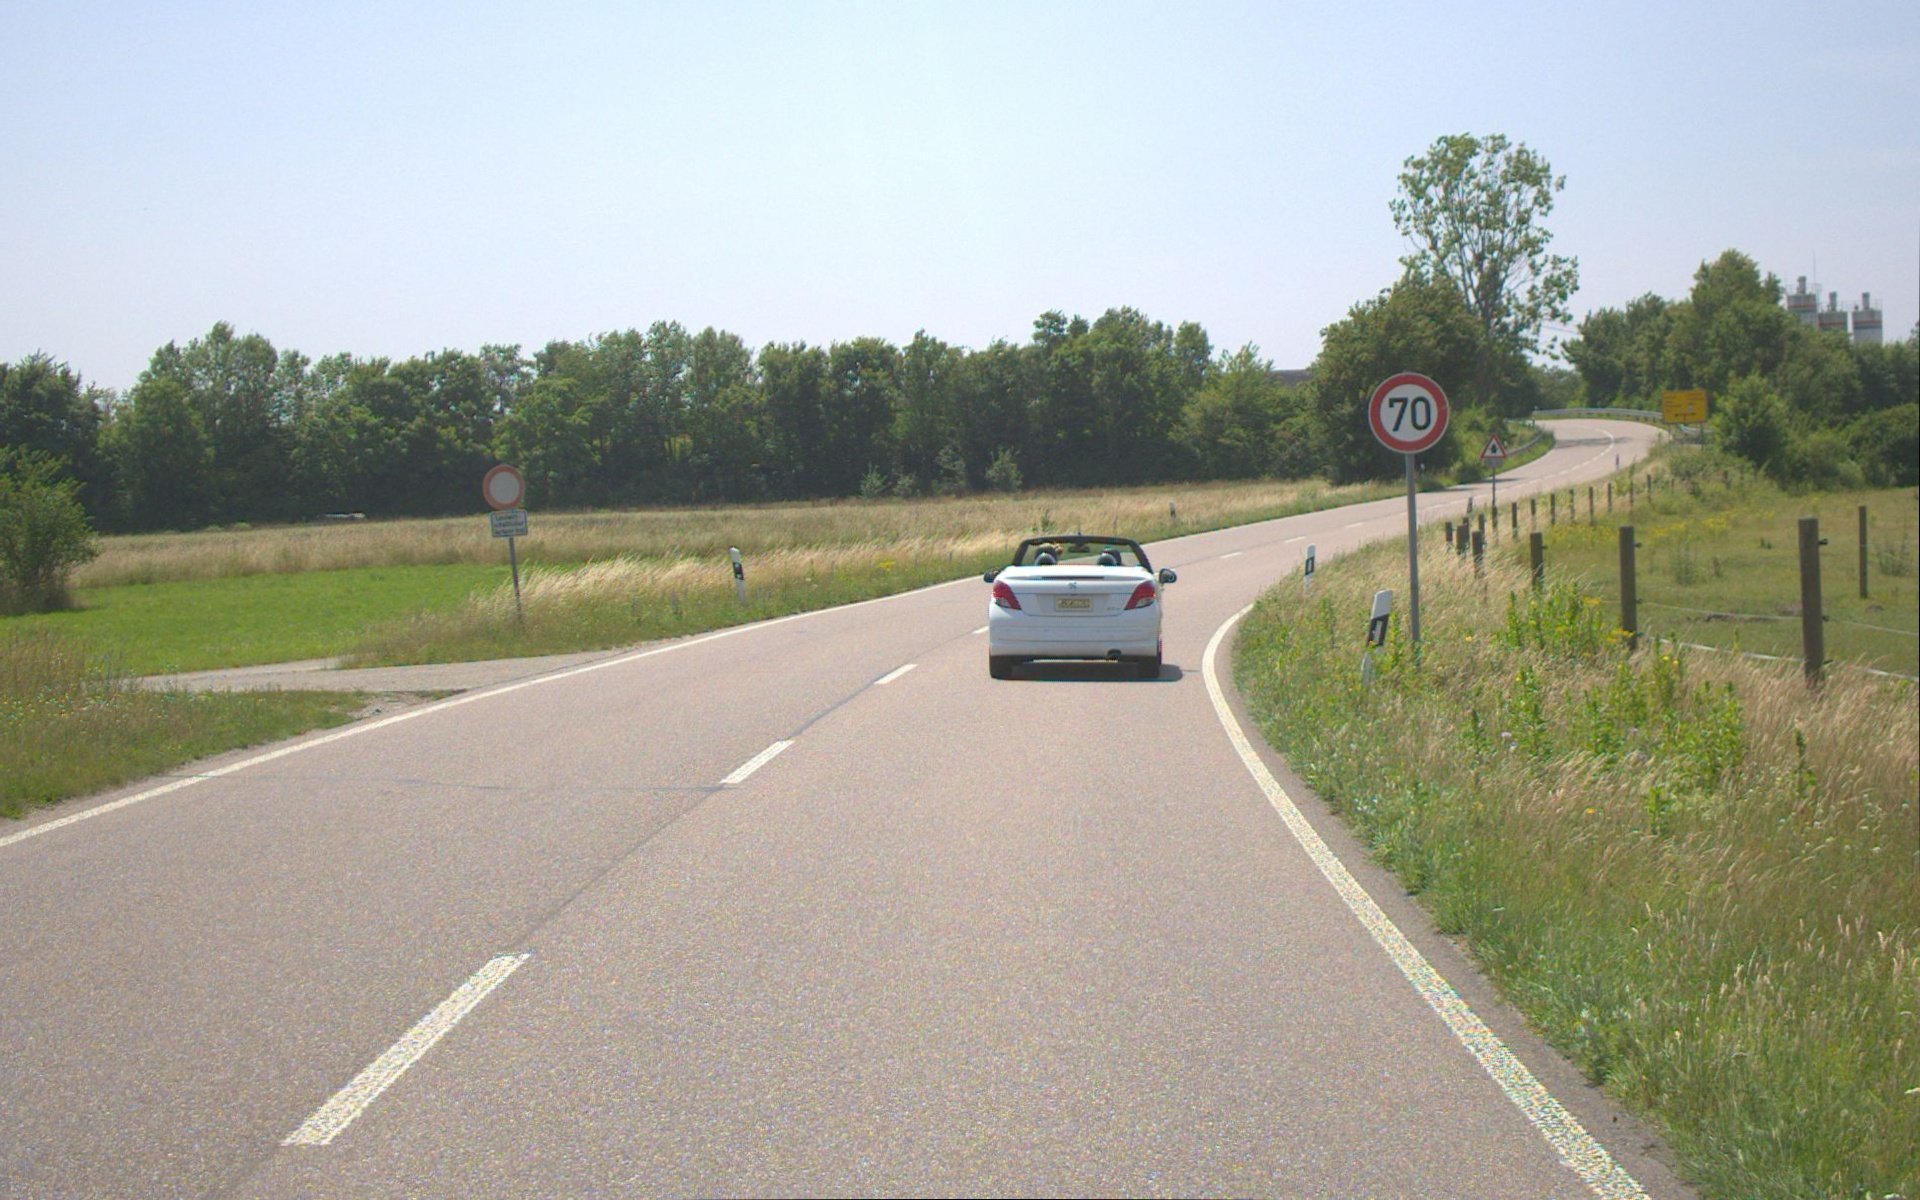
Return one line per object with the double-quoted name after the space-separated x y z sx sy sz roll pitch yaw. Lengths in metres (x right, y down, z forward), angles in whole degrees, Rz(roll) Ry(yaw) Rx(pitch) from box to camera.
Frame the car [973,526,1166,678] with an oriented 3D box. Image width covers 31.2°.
1.166 -0.027 34.944 1.851 1.374 4.000 0 2 3 "car"
